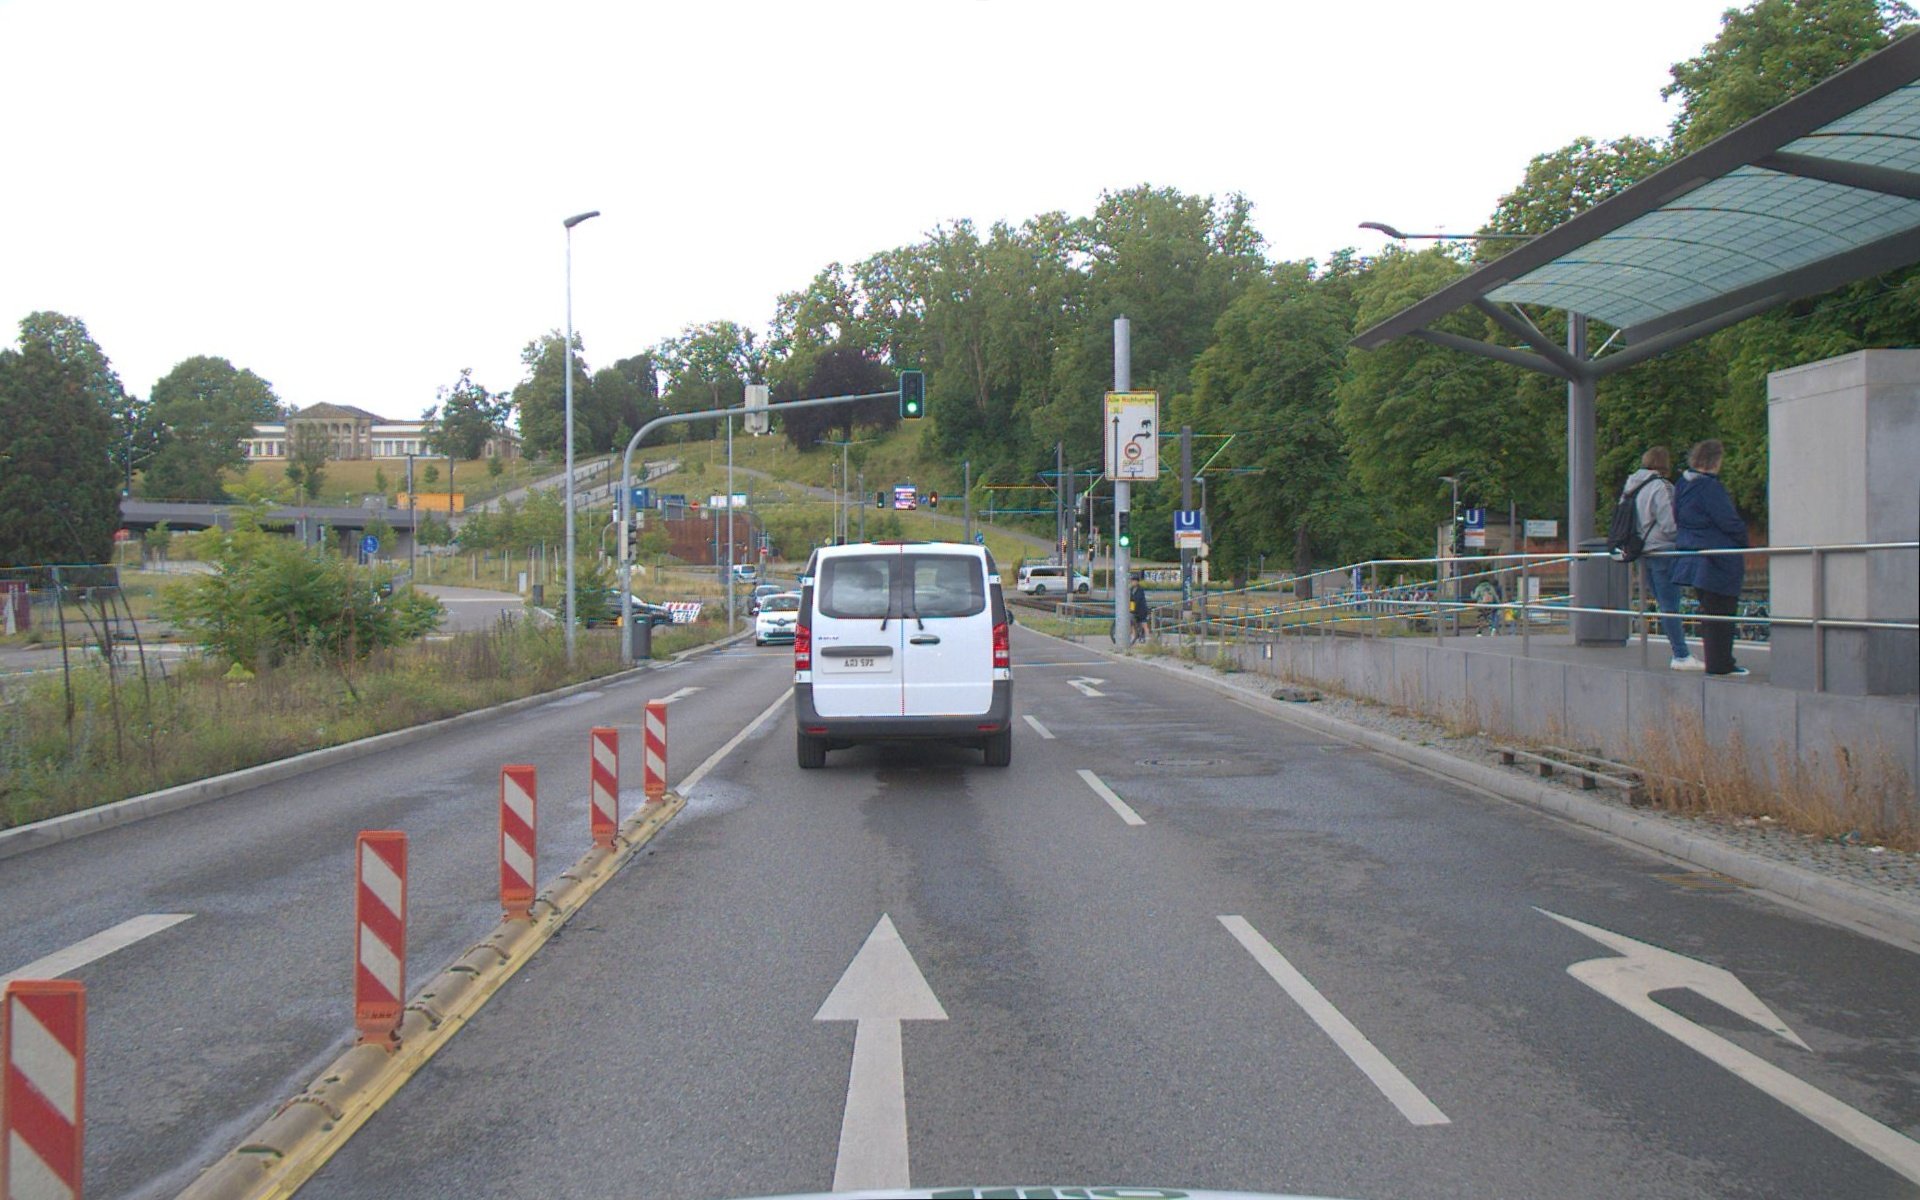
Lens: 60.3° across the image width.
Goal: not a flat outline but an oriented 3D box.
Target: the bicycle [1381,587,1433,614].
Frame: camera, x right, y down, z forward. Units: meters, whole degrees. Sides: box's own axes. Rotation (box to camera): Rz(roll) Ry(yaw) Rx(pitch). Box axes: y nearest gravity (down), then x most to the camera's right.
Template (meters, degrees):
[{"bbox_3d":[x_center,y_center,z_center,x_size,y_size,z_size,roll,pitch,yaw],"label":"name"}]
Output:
[{"bbox_3d":[17.227,0.026,63.759,1.873,0.992,0.530,-1,0,-2],"label":"bicycle"}]

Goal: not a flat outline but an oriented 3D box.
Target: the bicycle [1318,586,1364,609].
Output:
[{"bbox_3d":[16.703,-0.106,72.537,1.873,0.992,0.530,-1,0,-2],"label":"bicycle"}]

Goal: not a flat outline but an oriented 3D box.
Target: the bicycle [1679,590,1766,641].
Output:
[{"bbox_3d":[18.359,0.372,39.820,1.835,1.159,0.532,2,0,-2],"label":"bicycle"}]

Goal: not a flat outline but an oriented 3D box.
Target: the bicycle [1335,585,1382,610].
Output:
[{"bbox_3d":[16.844,-0.112,69.907,1.873,0.992,0.530,-1,0,-2],"label":"bicycle"}]

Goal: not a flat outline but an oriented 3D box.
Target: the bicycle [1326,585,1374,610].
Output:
[{"bbox_3d":[16.651,-0.106,70.627,1.873,0.992,0.530,-1,0,-2],"label":"bicycle"}]

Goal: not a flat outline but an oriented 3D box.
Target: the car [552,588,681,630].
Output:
[{"bbox_3d":[-13.623,0.342,65.742,4.609,1.503,2.002,-1,1,8],"label":"car"}]

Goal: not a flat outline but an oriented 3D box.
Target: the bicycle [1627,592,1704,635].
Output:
[{"bbox_3d":[17.973,0.342,42.156,1.728,1.052,0.483,2,0,-2],"label":"bicycle"}]

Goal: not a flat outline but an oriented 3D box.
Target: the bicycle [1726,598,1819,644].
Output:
[{"bbox_3d":[18.316,0.471,37.300,1.835,0.980,0.532,2,0,-2],"label":"bicycle"}]

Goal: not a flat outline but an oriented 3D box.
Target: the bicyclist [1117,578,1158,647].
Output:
[{"bbox_3d":[4.237,0.285,39.524,0.799,1.599,0.609,-1,2,-42],"label":"bicyclist"}]

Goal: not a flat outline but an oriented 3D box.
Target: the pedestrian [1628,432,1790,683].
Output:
[{"bbox_3d":[5.377,-0.309,11.916,0.755,1.729,0.731,2,2,-1],"label":"pedestrian"}]

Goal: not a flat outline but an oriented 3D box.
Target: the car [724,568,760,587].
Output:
[{"bbox_3d":[-19.335,-2.022,146.494,1.916,1.655,3.963,0,1,-28],"label":"car"}]

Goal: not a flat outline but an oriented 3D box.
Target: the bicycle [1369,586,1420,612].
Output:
[{"bbox_3d":[17.154,-0.030,65.344,1.873,0.992,0.530,-1,0,-2],"label":"bicycle"}]

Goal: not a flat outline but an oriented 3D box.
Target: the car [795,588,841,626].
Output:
[{"bbox_3d":[-5.852,0.292,68.497,1.696,1.446,4.442,2,0,-3],"label":"car"}]

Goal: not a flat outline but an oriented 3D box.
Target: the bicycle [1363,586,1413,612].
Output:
[{"bbox_3d":[17.095,-0.029,66.082,1.873,0.992,0.530,-1,0,-2],"label":"bicycle"}]

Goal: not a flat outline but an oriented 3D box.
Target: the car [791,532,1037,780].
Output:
[{"bbox_3d":[-0.410,0.430,15.252,1.919,1.937,4.460,1,0,-1],"label":"car"}]

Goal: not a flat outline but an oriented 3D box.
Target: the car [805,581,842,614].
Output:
[{"bbox_3d":[-6.975,-0.116,84.925,1.695,1.555,4.442,-2,0,-3],"label":"car"}]

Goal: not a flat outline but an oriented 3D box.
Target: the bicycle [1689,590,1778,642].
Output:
[{"bbox_3d":[18.173,0.375,38.857,1.835,1.159,0.532,2,0,-2],"label":"bicycle"}]

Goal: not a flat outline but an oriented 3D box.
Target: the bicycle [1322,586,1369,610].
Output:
[{"bbox_3d":[16.692,-0.106,71.610,1.873,0.992,0.530,-1,0,-2],"label":"bicycle"}]

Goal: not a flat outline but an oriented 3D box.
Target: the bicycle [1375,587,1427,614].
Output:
[{"bbox_3d":[17.155,0.023,64.404,1.873,0.992,0.530,-1,0,-2],"label":"bicycle"}]

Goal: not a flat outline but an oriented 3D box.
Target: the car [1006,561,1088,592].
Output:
[{"bbox_3d":[5.839,-1.571,111.362,5.054,2.049,2.197,0,0,-18],"label":"car"}]

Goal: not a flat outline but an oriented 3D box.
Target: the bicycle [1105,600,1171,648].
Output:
[{"bbox_3d":[4.267,0.563,39.559,1.670,1.092,0.611,-2,2,-42],"label":"bicycle"}]

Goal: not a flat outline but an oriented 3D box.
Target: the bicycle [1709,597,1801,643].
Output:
[{"bbox_3d":[18.270,0.459,38.024,1.835,0.980,0.532,2,0,-2],"label":"bicycle"}]

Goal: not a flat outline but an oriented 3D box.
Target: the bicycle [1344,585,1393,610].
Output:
[{"bbox_3d":[17.061,-0.114,69.101,1.873,0.992,0.530,-1,0,-2],"label":"bicycle"}]

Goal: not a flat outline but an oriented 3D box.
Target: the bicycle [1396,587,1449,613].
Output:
[{"bbox_3d":[17.518,-0.003,62.657,1.873,0.911,0.530,-1,0,-2],"label":"bicycle"}]

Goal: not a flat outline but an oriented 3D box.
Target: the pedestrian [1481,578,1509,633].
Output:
[{"bbox_3d":[14.836,0.151,45.865,0.490,1.528,0.512,-1,0,-24],"label":"pedestrian"}]

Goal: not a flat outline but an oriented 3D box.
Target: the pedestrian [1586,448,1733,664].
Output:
[{"bbox_3d":[5.353,-0.340,12.700,0.735,1.580,0.775,2,2,-1],"label":"pedestrian"}]

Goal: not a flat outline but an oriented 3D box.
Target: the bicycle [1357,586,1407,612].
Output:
[{"bbox_3d":[17.053,-0.043,66.863,1.873,0.992,0.530,-1,0,-2],"label":"bicycle"}]

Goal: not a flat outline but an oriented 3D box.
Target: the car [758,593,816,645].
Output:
[{"bbox_3d":[-5.402,0.565,51.895,1.559,1.544,4.082,-1,0,-3],"label":"car"}]

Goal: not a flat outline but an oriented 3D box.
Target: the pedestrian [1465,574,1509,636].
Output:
[{"bbox_3d":[14.249,0.141,44.745,0.821,1.637,0.772,-1,0,-24],"label":"pedestrian"}]
